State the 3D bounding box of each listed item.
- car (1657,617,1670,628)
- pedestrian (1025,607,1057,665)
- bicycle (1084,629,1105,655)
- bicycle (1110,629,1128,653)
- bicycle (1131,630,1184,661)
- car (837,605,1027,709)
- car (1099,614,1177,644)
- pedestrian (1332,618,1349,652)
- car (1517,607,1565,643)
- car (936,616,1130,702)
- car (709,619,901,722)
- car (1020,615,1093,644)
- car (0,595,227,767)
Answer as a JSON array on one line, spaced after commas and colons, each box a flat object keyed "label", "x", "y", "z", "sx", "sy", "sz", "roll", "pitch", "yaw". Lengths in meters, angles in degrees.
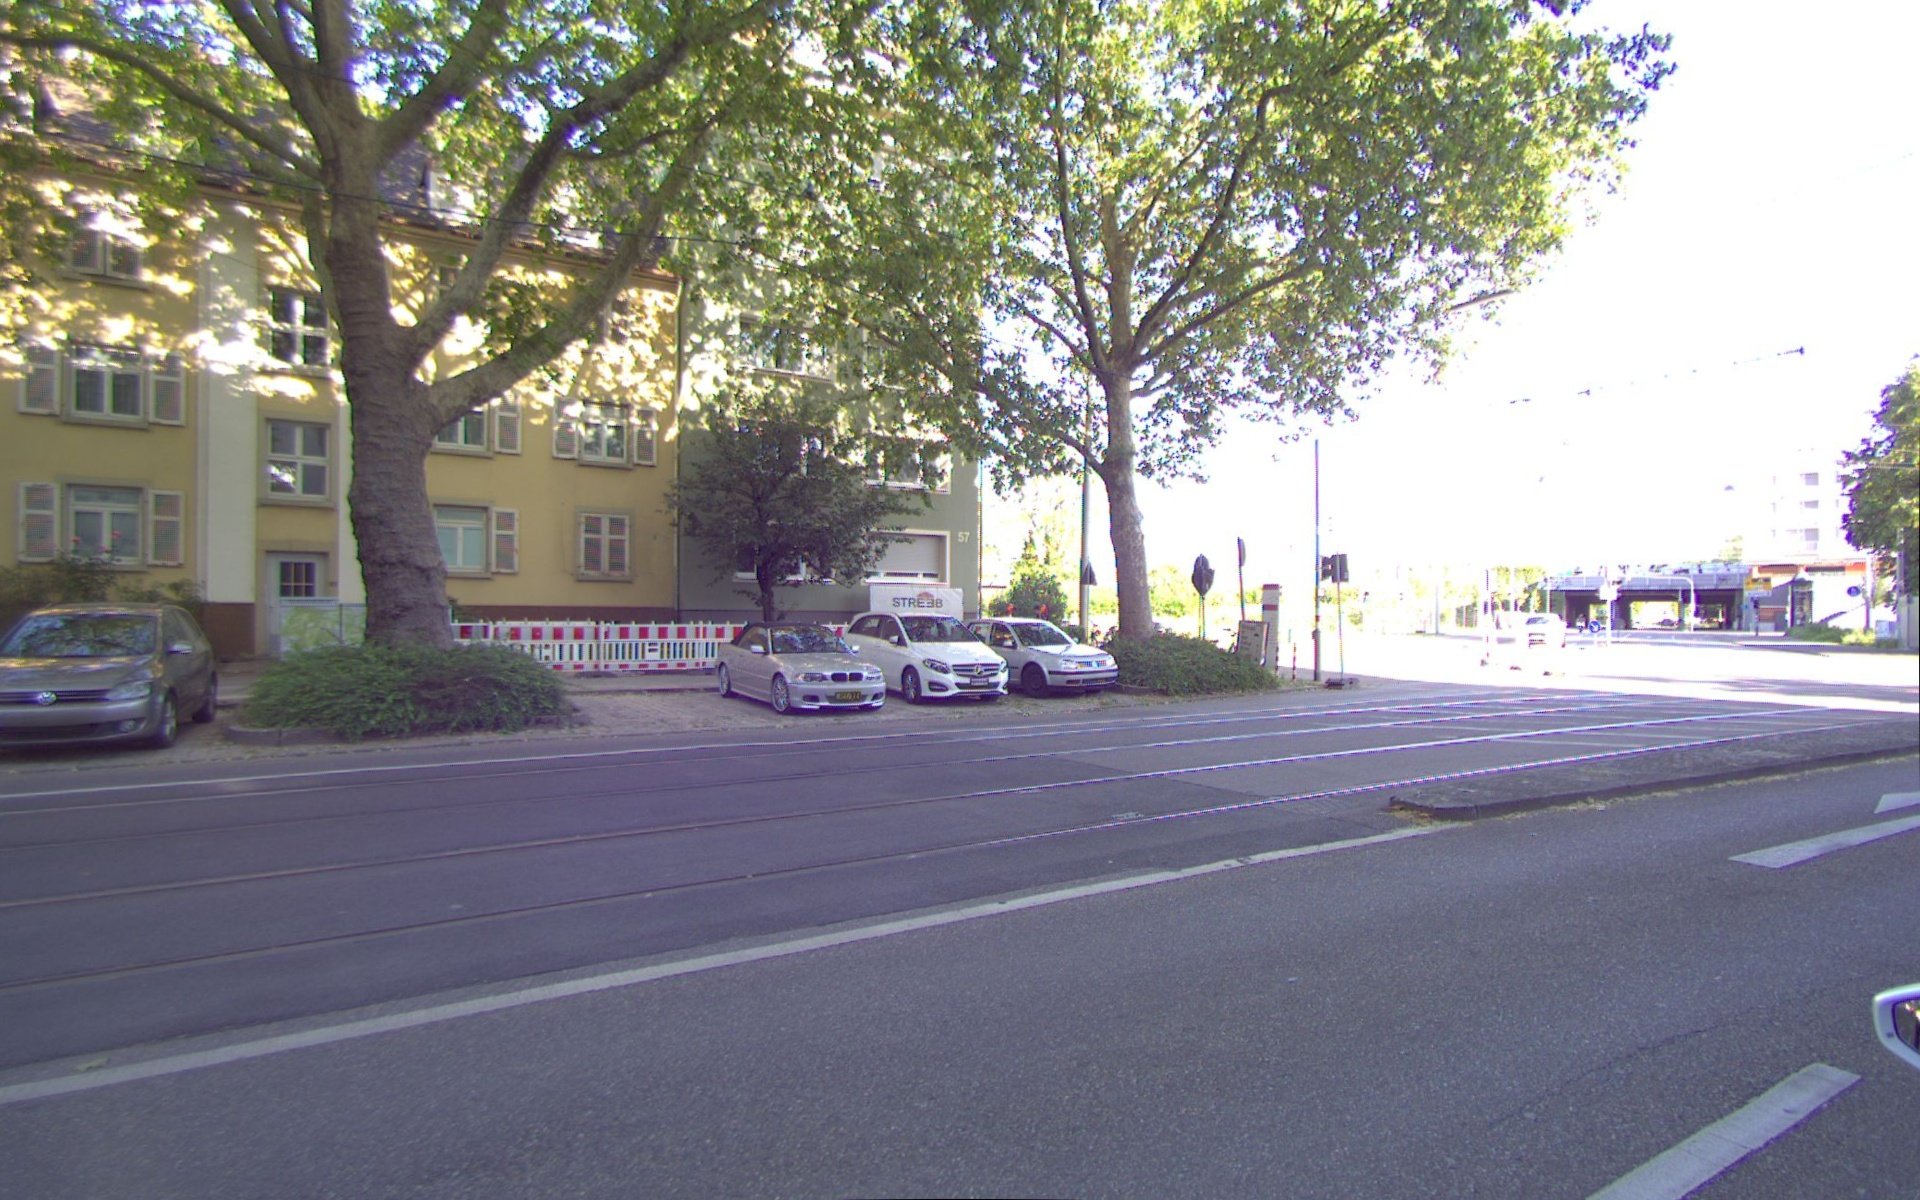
[{"label": "car", "x": 145.557, "y": 4.644, "z": 207.897, "sx": 1.966, "sy": 2.040, "sz": 3.989, "roll": 2, "pitch": 0, "yaw": 33}, {"label": "pedestrian", "x": 2.228, "y": 0.983, "z": 27.680, "sx": 0.592, "sy": 1.589, "sz": 0.741, "roll": 0, "pitch": 0, "yaw": 33}, {"label": "bicycle", "x": 4.279, "y": 1.321, "z": 31.816, "sx": 0.351, "sy": 0.769, "sz": 1.781, "roll": 0, "pitch": -1, "yaw": 18}, {"label": "bicycle", "x": 5.354, "y": 1.364, "z": 33.933, "sx": 0.351, "sy": 0.769, "sz": 1.781, "roll": 0, "pitch": -1, "yaw": 1}, {"label": "bicycle", "x": 6.043, "y": 1.374, "z": 30.813, "sx": 0.355, "sy": 0.900, "sz": 1.759, "roll": 1, "pitch": -1, "yaw": -41}, {"label": "car", "x": -0.644, "y": 0.968, "z": 18.609, "sx": 1.822, "sy": 1.633, "sz": 4.051, "roll": 2, "pitch": 0, "yaw": -29}, {"label": "car", "x": 10.133, "y": 1.611, "z": 57.210, "sx": 3.933, "sy": 1.439, "sz": 1.888, "roll": 0, "pitch": 5, "yaw": 34}, {"label": "pedestrian", "x": 18.212, "y": 1.676, "z": 48.071, "sx": 0.591, "sy": 1.617, "sz": 0.683, "roll": 2, "pitch": 0, "yaw": 35}, {"label": "car", "x": 28.609, "y": 1.206, "z": 49.464, "sx": 1.965, "sy": 1.653, "sz": 4.621, "roll": 0, "pitch": -1, "yaw": 31}, {"label": "car", "x": 1.351, "y": 1.099, "z": 20.000, "sx": 1.688, "sy": 1.436, "sz": 3.959, "roll": 2, "pitch": 0, "yaw": -36}, {"label": "car", "x": -2.700, "y": 1.071, "z": 16.709, "sx": 1.822, "sy": 1.387, "sz": 4.051, "roll": 2, "pitch": 0, "yaw": -29}, {"label": "car", "x": 5.813, "y": 1.744, "z": 60.506, "sx": 3.933, "sy": 1.439, "sz": 1.888, "roll": 0, "pitch": 5, "yaw": 34}, {"label": "car", "x": -9.996, "y": 0.800, "z": 11.722, "sx": 1.822, "sy": 1.641, "sz": 4.051, "roll": 2, "pitch": 0, "yaw": -29}]
